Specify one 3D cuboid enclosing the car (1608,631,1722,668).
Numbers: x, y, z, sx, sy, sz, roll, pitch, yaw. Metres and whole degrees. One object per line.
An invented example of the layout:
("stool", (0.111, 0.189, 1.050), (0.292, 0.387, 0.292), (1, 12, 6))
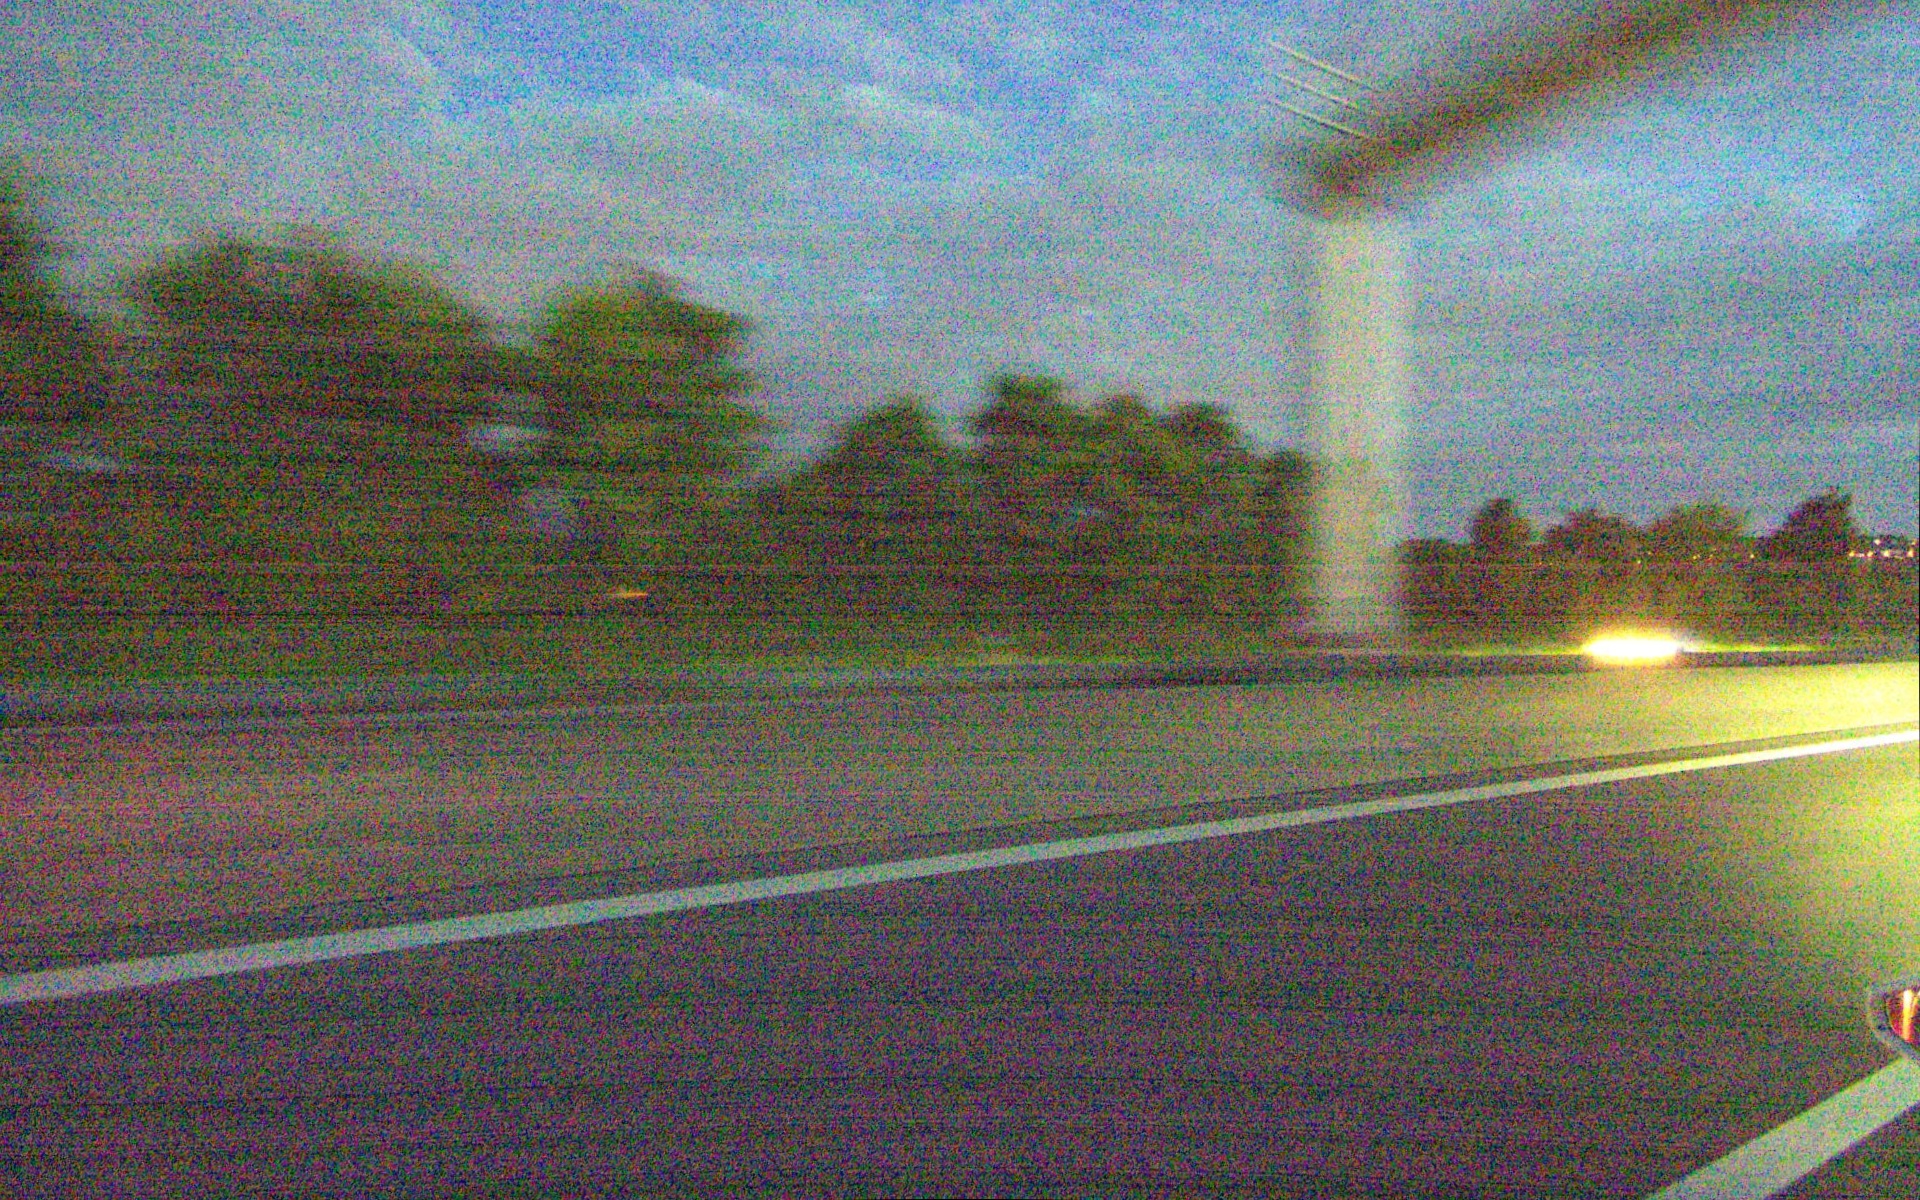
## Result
("car", (26.421, 1.820, 37.618), (4.298, 1.299, 1.895), (1, -1, -30))
